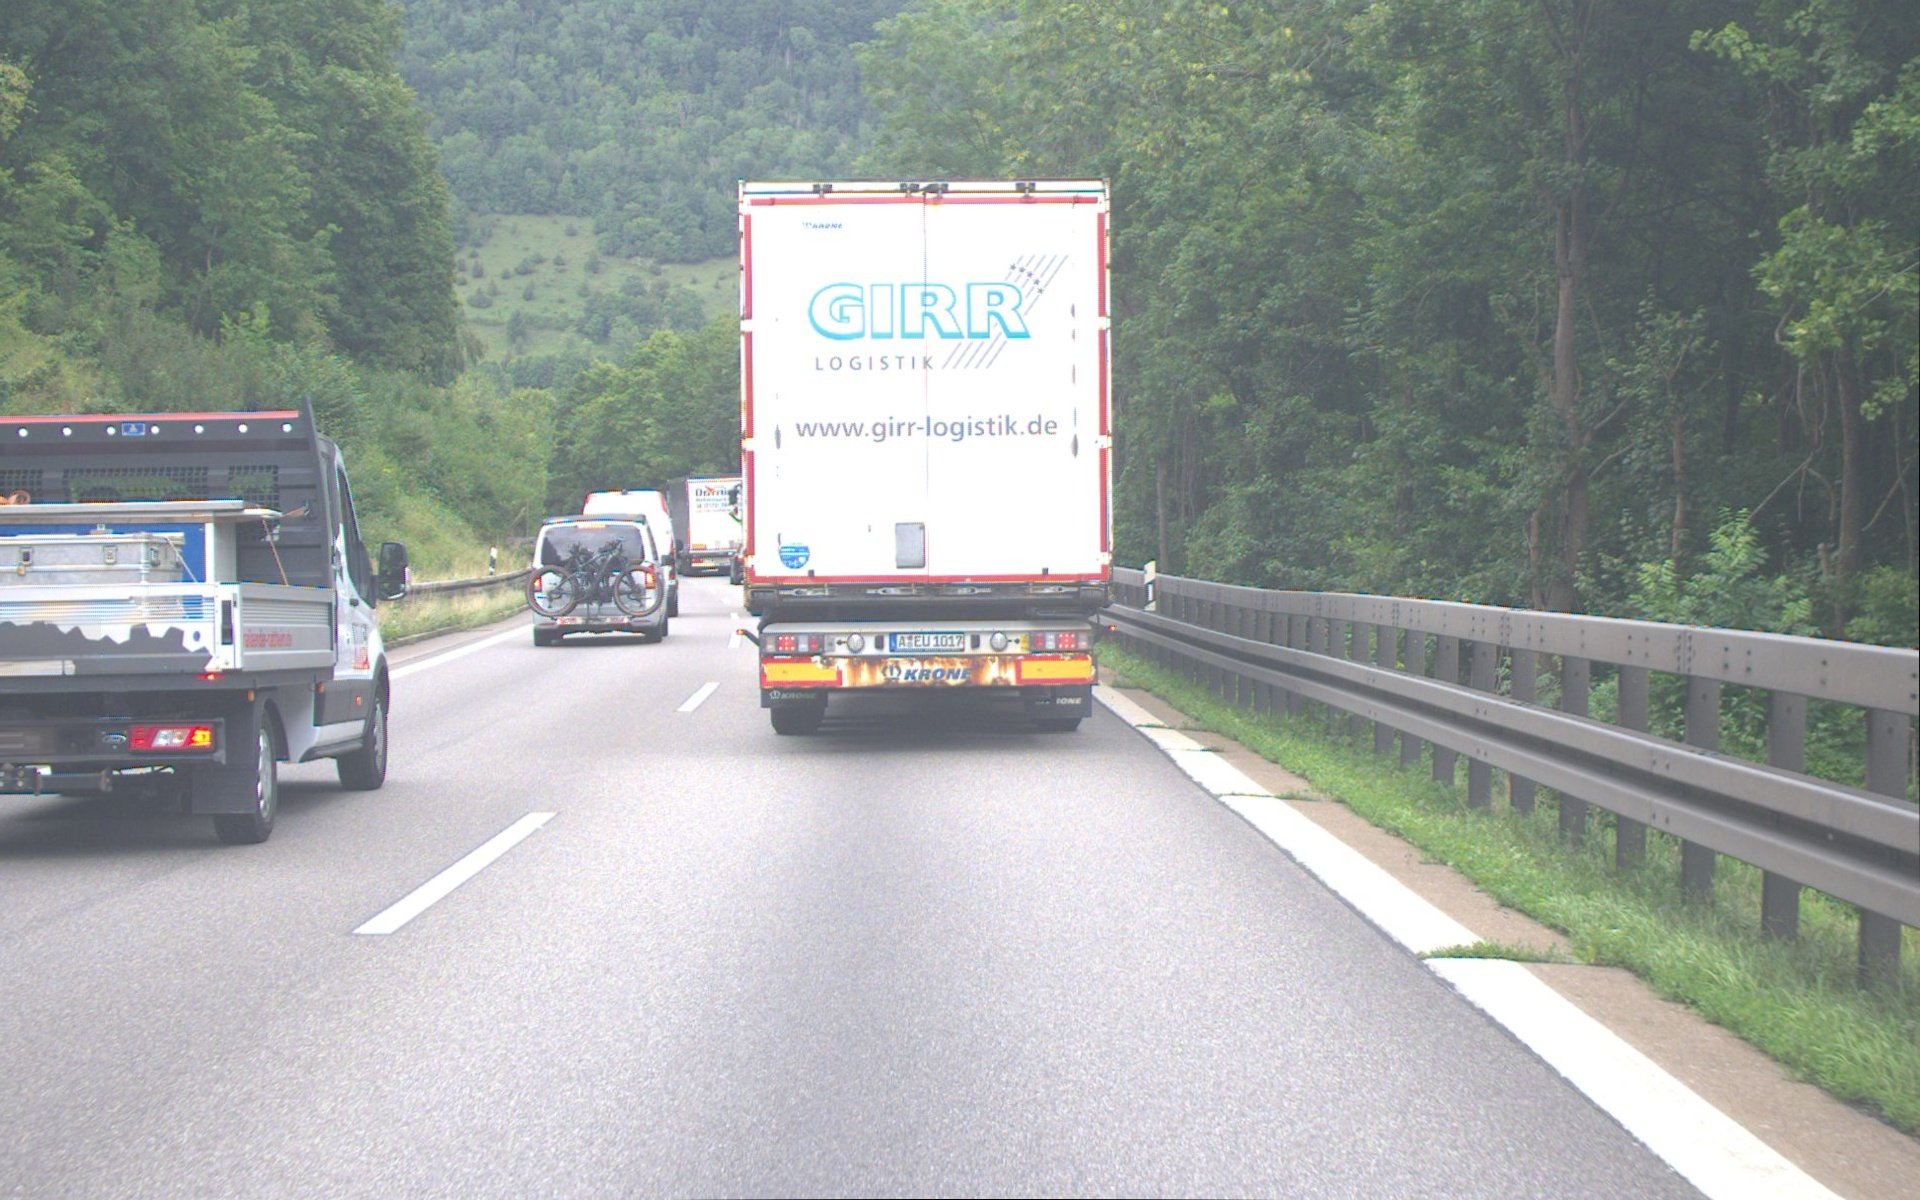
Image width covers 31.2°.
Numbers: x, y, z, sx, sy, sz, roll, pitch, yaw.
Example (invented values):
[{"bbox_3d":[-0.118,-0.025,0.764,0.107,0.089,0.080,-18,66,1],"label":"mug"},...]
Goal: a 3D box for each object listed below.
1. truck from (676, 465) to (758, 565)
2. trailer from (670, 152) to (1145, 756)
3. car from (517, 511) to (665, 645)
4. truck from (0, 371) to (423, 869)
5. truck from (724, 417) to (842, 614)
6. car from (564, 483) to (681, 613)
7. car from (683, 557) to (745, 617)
[{"bbox_3d":[-9.857,-3.362,138.704,3.068,3.864,8.460,0,0,-5],"label":"truck"},{"bbox_3d":[-0.415,-1.074,28.149,3.133,4.029,9.440,2,1,-1],"label":"trailer"},{"bbox_3d":[-5.528,-0.366,52.070,2.018,1.908,5.564,0,1,-4],"label":"car"},{"bbox_3d":[-4.526,0.040,19.054,2.349,2.266,6.850,0,1,-3],"label":"truck"},{"bbox_3d":[-3.518,-1.653,69.522,2.233,3.791,6.823,0,0,-2],"label":"truck"},{"bbox_3d":[-6.985,-1.094,71.690,2.123,2.589,5.564,-1,1,-3],"label":"car"},{"bbox_3d":[-8.451,-0.448,117.743,1.993,2.007,4.001,0,0,-6],"label":"car"}]
